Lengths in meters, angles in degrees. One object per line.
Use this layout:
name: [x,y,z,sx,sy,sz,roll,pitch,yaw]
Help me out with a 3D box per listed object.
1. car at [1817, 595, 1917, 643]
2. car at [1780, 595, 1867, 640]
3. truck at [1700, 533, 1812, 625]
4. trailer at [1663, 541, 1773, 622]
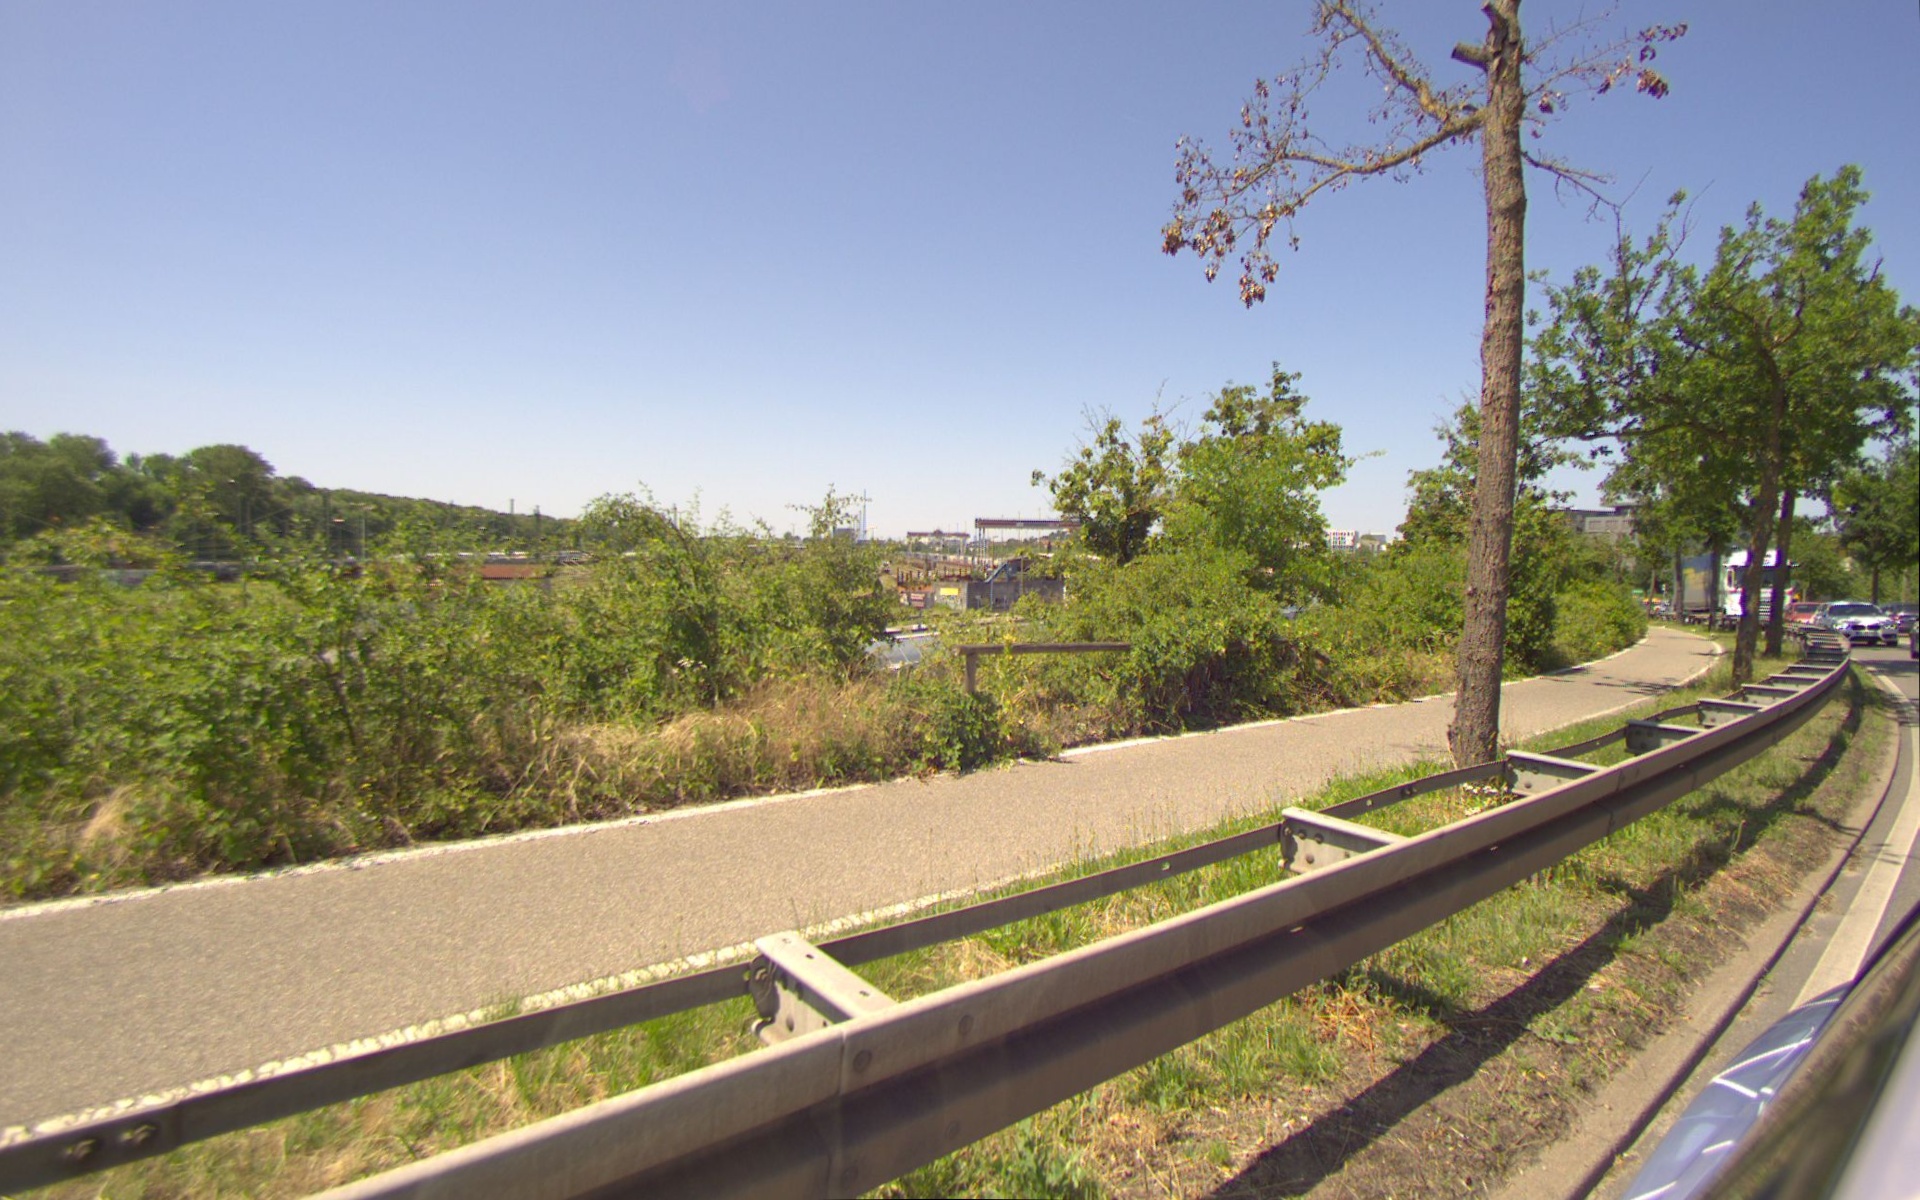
car: [29.512,0.573,33.043,1.804,1.446,3.673,0,0,32]
car: [35.940,0.675,42.245,1.884,1.675,4.217,0,2,28]
truck: [40.719,-1.013,52.103,2.832,4.323,8.733,0,0,27]
trailer: [44.926,-1.026,60.489,2.855,4.267,13.876,0,0,27]
